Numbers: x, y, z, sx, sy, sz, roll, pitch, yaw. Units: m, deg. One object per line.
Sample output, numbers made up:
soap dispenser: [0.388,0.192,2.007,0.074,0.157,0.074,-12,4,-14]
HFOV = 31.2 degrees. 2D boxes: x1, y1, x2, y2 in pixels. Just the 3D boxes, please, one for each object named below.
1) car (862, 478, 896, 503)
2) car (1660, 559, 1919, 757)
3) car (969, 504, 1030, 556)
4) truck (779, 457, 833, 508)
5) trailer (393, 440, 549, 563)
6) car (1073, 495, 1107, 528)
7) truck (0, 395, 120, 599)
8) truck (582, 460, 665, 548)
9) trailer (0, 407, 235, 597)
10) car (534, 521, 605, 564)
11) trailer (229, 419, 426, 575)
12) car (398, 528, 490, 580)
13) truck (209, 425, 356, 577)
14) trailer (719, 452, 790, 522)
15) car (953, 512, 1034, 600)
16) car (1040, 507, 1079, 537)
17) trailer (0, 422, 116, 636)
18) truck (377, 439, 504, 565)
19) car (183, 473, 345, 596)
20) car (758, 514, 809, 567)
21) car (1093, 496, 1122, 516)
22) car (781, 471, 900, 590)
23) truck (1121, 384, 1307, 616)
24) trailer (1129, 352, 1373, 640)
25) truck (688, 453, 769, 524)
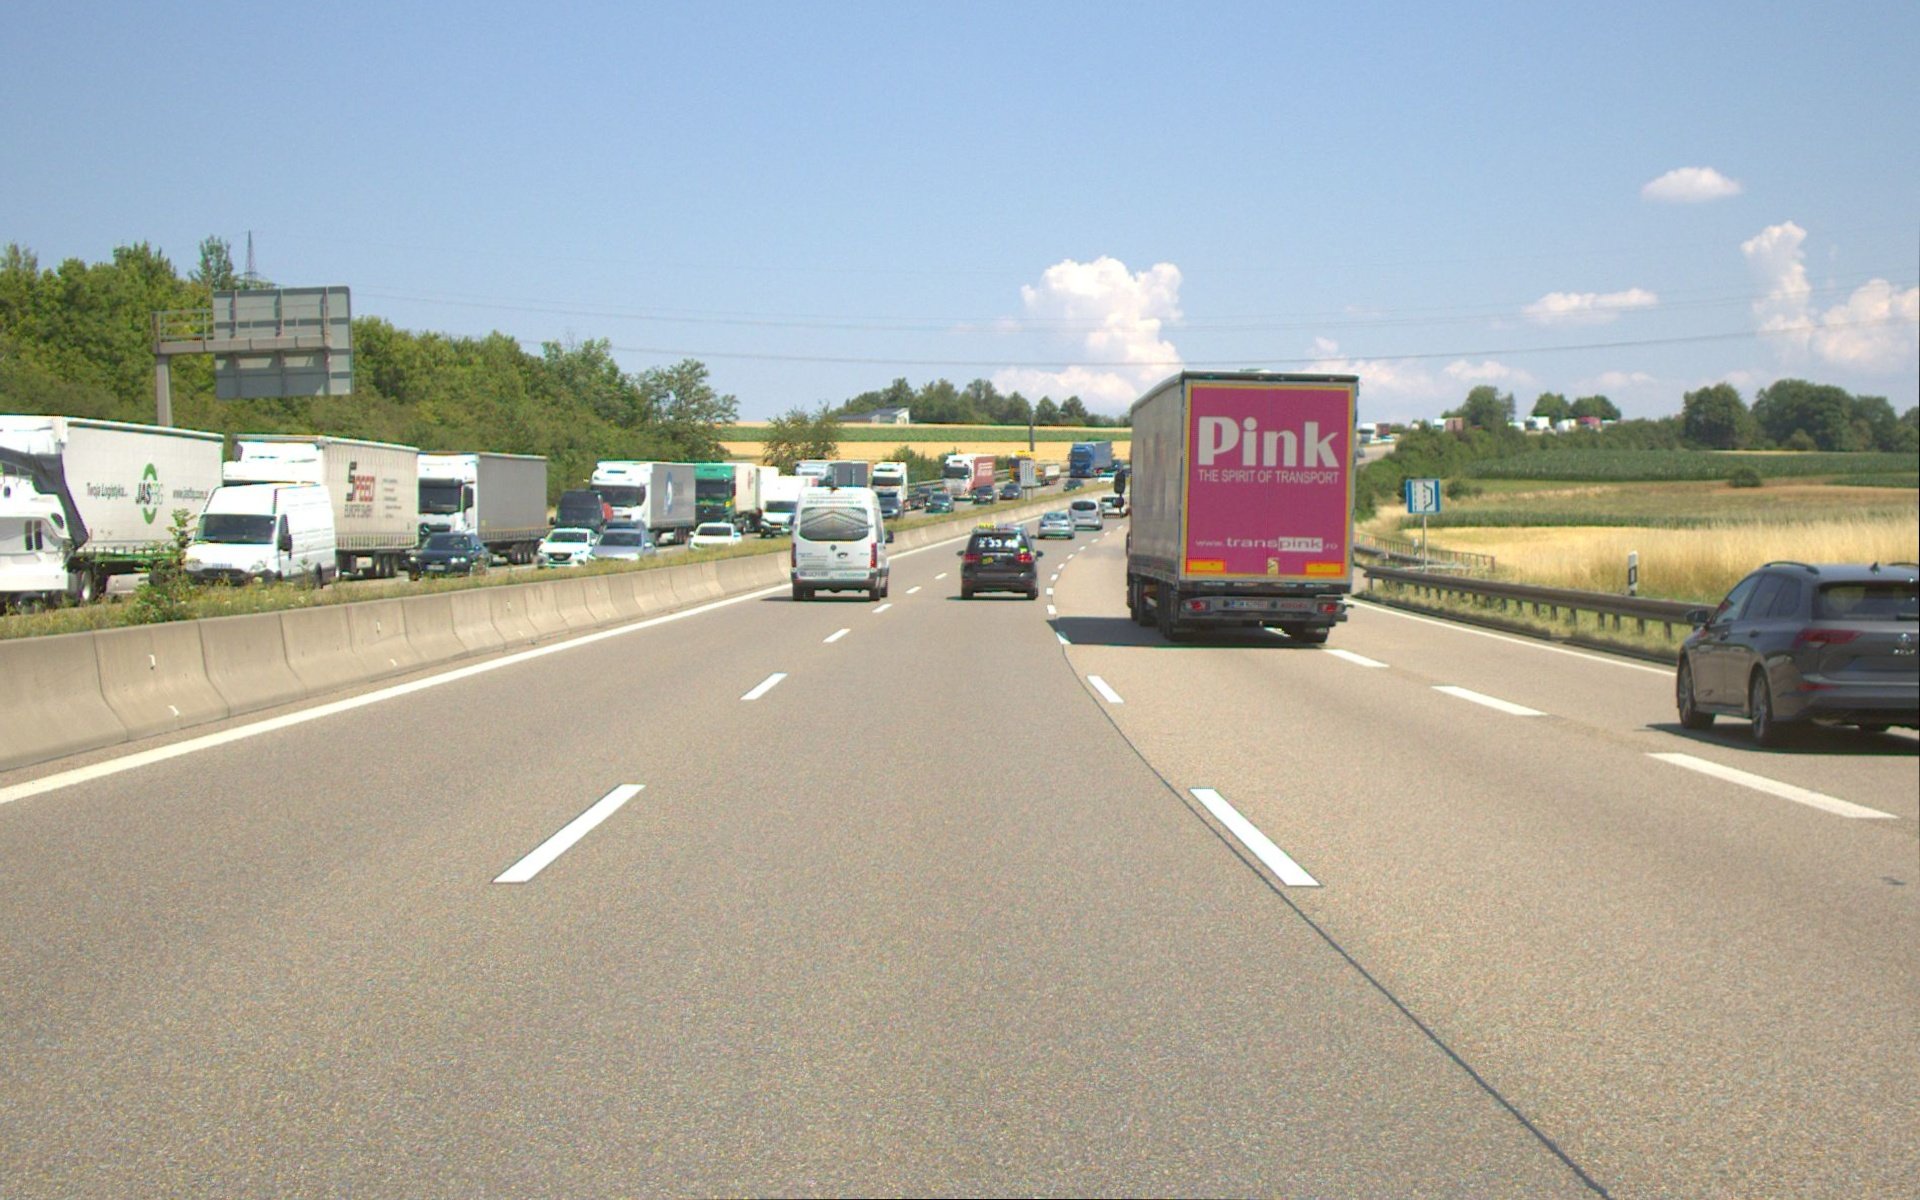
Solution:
car: [-5.547,-7.511,236.018,1.861,1.636,5.113,0,0,4]
car: [7.019,0.419,27.968,1.761,1.466,4.536,1,1,1]
car: [1.410,-2.420,120.162,1.993,1.744,4.000,1,1,2]
truck: [-9.997,-7.661,223.641,2.539,3.196,7.588,1,2,5]
trailer: [-17.608,-3.537,124.851,2.982,4.192,14.193,1,1,2]
car: [7.874,-5.346,207.558,1.994,1.897,4.000,1,1,3]
truck: [-19.434,-2.098,70.449,2.848,3.993,5.974,0,1,2]
truck: [-15.659,-4.495,160.450,2.853,4.022,6.604,0,2,3]
trailer: [-19.297,-2.157,76.867,2.903,3.860,13.877,0,1,2]
car: [-13.555,-1.980,119.525,1.881,1.469,4.406,0,1,1]
trailer: [-18.582,-3.037,102.048,2.811,4.263,13.869,1,2,2]
car: [-15.125,-1.375,100.984,1.876,1.429,4.925,1,1,1]
truck: [-18.750,-2.741,95.494,2.755,4.029,6.099,1,2,1]
trailer: [-12.173,-6.762,204.618,2.921,4.057,8.229,-1,2,6]
car: [0.810,-1.060,81.262,1.847,1.854,4.206,0,4,1]
car: [5.246,-4.140,182.138,1.993,1.579,4.000,0,2,0]
trailer: [-15.755,-1.095,53.430,2.869,3.172,10.730,1,1,-2]
truck: [-17.890,-3.375,118.729,2.962,4.195,6.604,1,1,3]
car: [-15.362,-1.458,76.297,1.897,2.565,7.572,0,1,1]
car: [-9.693,-3.247,189.091,2.139,2.776,6.625,1,1,3]
car: [10.425,-6.629,242.986,1.993,1.305,4.000,0,3,2]
car: [-2.692,-1.561,78.739,2.180,2.616,4.672,1,0,4]
truck: [4.579,-1.860,63.282,2.916,3.994,6.511,1,2,0]
trailer: [4.532,-1.732,56.438,2.918,4.103,13.859,1,2,1]
truck: [-13.085,-6.386,195.327,2.843,3.885,11.247,-1,2,5]
